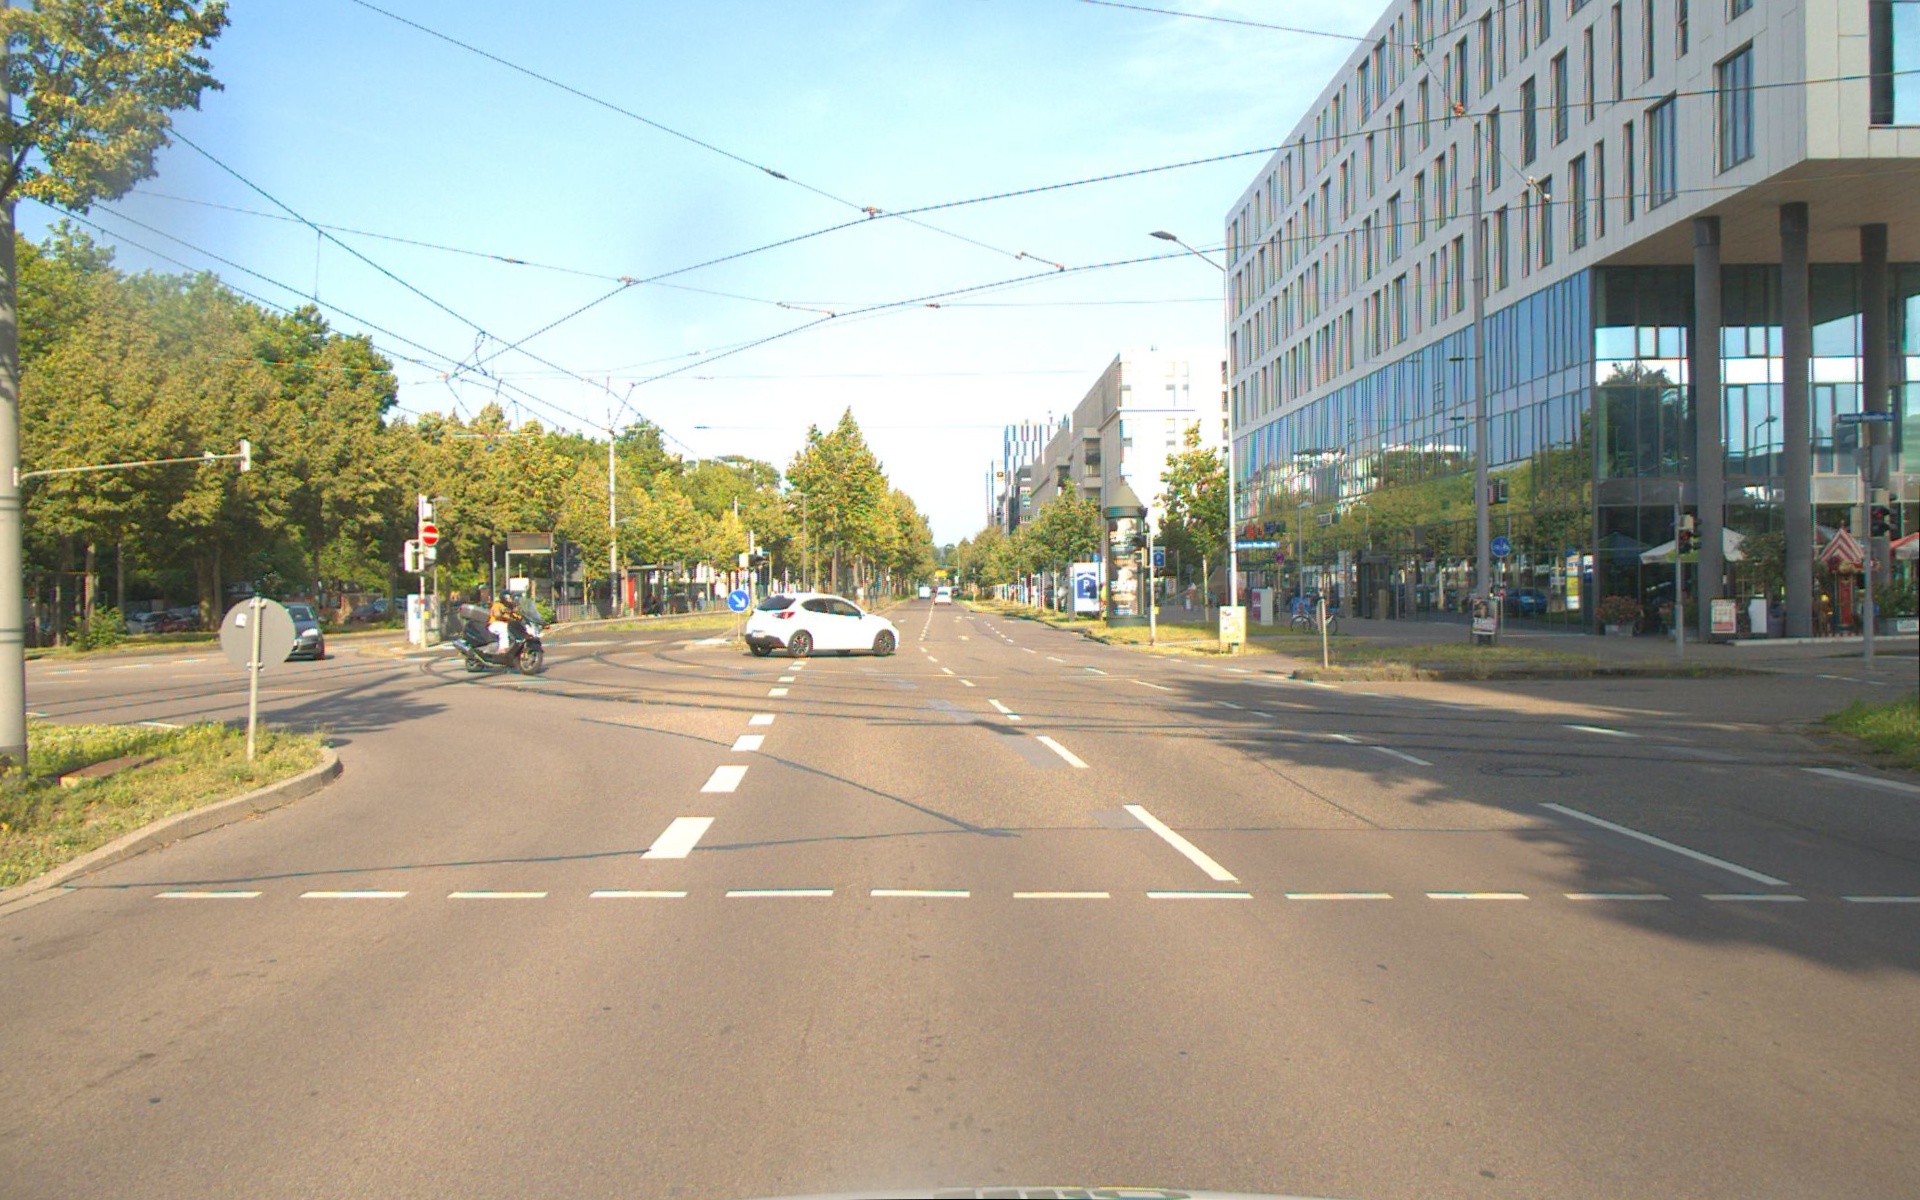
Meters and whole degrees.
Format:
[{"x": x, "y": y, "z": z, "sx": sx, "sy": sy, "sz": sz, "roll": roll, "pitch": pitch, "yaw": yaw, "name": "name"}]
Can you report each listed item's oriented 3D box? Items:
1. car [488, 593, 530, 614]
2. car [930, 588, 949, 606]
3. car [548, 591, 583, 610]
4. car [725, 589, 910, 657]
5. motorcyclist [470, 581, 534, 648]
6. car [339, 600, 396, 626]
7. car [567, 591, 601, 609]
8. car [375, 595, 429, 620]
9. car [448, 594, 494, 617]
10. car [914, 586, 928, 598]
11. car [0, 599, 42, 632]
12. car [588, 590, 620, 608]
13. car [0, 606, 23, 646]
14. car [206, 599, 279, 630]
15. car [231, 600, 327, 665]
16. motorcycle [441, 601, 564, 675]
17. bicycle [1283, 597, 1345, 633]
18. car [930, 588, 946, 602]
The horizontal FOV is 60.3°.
[{"x": -35.040, "y": 0.291, "z": 128.551, "sx": 1.841, "sy": 1.586, "sz": 4.002, "roll": -1, "pitch": 0, "yaw": 4, "name": "car"}, {"x": -2.077, "y": -0.300, "z": 169.024, "sx": 1.826, "sy": 1.713, "sz": 4.000, "roll": 1, "pitch": 1, "yaw": 0, "name": "car"}, {"x": -34.371, "y": 0.069, "z": 144.107, "sx": 1.841, "sy": 1.586, "sz": 4.002, "roll": -1, "pitch": 0, "yaw": 4, "name": "car"}, {"x": -3.362, "y": 0.528, "z": 39.466, "sx": 4.059, "sy": 1.530, "sz": 1.969, "roll": 1, "pitch": 0, "yaw": -43, "name": "car"}, {"x": -8.523, "y": 0.262, "z": 30.783, "sx": 0.830, "sy": 1.224, "sz": 0.782, "roll": 1, "pitch": 1, "yaw": 35, "name": "motorcyclist"}, {"x": -36.883, "y": 0.787, "z": 103.040, "sx": 1.841, "sy": 1.586, "sz": 4.002, "roll": -1, "pitch": 0, "yaw": 4, "name": "car"}, {"x": -33.858, "y": -0.002, "z": 148.992, "sx": 1.841, "sy": 1.586, "sz": 4.002, "roll": -1, "pitch": 0, "yaw": 4, "name": "car"}, {"x": -36.453, "y": 0.463, "z": 108.126, "sx": 1.841, "sy": 1.586, "sz": 4.002, "roll": -1, "pitch": 0, "yaw": 4, "name": "car"}, {"x": -35.623, "y": 0.393, "z": 120.620, "sx": 1.841, "sy": 1.586, "sz": 4.002, "roll": -1, "pitch": 0, "yaw": 4, "name": "car"}, {"x": -5.741, "y": -1.166, "z": 245.617, "sx": 1.973, "sy": 1.713, "sz": 4.000, "roll": 1, "pitch": 1, "yaw": 0, "name": "car"}, {"x": -46.662, "y": 0.756, "z": 80.216, "sx": 1.841, "sy": 1.586, "sz": 4.002, "roll": -1, "pitch": 0, "yaw": 4, "name": "car"}, {"x": -33.416, "y": -0.084, "z": 155.422, "sx": 1.841, "sy": 1.586, "sz": 4.002, "roll": -1, "pitch": 0, "yaw": 4, "name": "car"}, {"x": -39.332, "y": 1.052, "z": 65.584, "sx": 1.841, "sy": 1.586, "sz": 4.002, "roll": -1, "pitch": 0, "yaw": 4, "name": "car"}, {"x": -38.129, "y": 0.760, "z": 87.996, "sx": 1.841, "sy": 1.586, "sz": 4.002, "roll": -1, "pitch": 0, "yaw": 4, "name": "car"}, {"x": -17.104, "y": 0.769, "z": 41.430, "sx": 1.710, "sy": 1.487, "sz": 4.530, "roll": -2, "pitch": 1, "yaw": -29, "name": "car"}, {"x": -8.509, "y": 0.682, "z": 30.728, "sx": 2.498, "sy": 1.285, "sz": 0.818, "roll": 1, "pitch": 1, "yaw": 36, "name": "motorcycle"}, {"x": 11.360, "y": 0.469, "z": 53.140, "sx": 0.768, "sy": 1.050, "sz": 1.848, "roll": -1, "pitch": 3, "yaw": -44, "name": "bicycle"}, {"x": -2.652, "y": -0.611, "z": 201.467, "sx": 1.826, "sy": 1.713, "sz": 4.000, "roll": 1, "pitch": 1, "yaw": 0, "name": "car"}]
